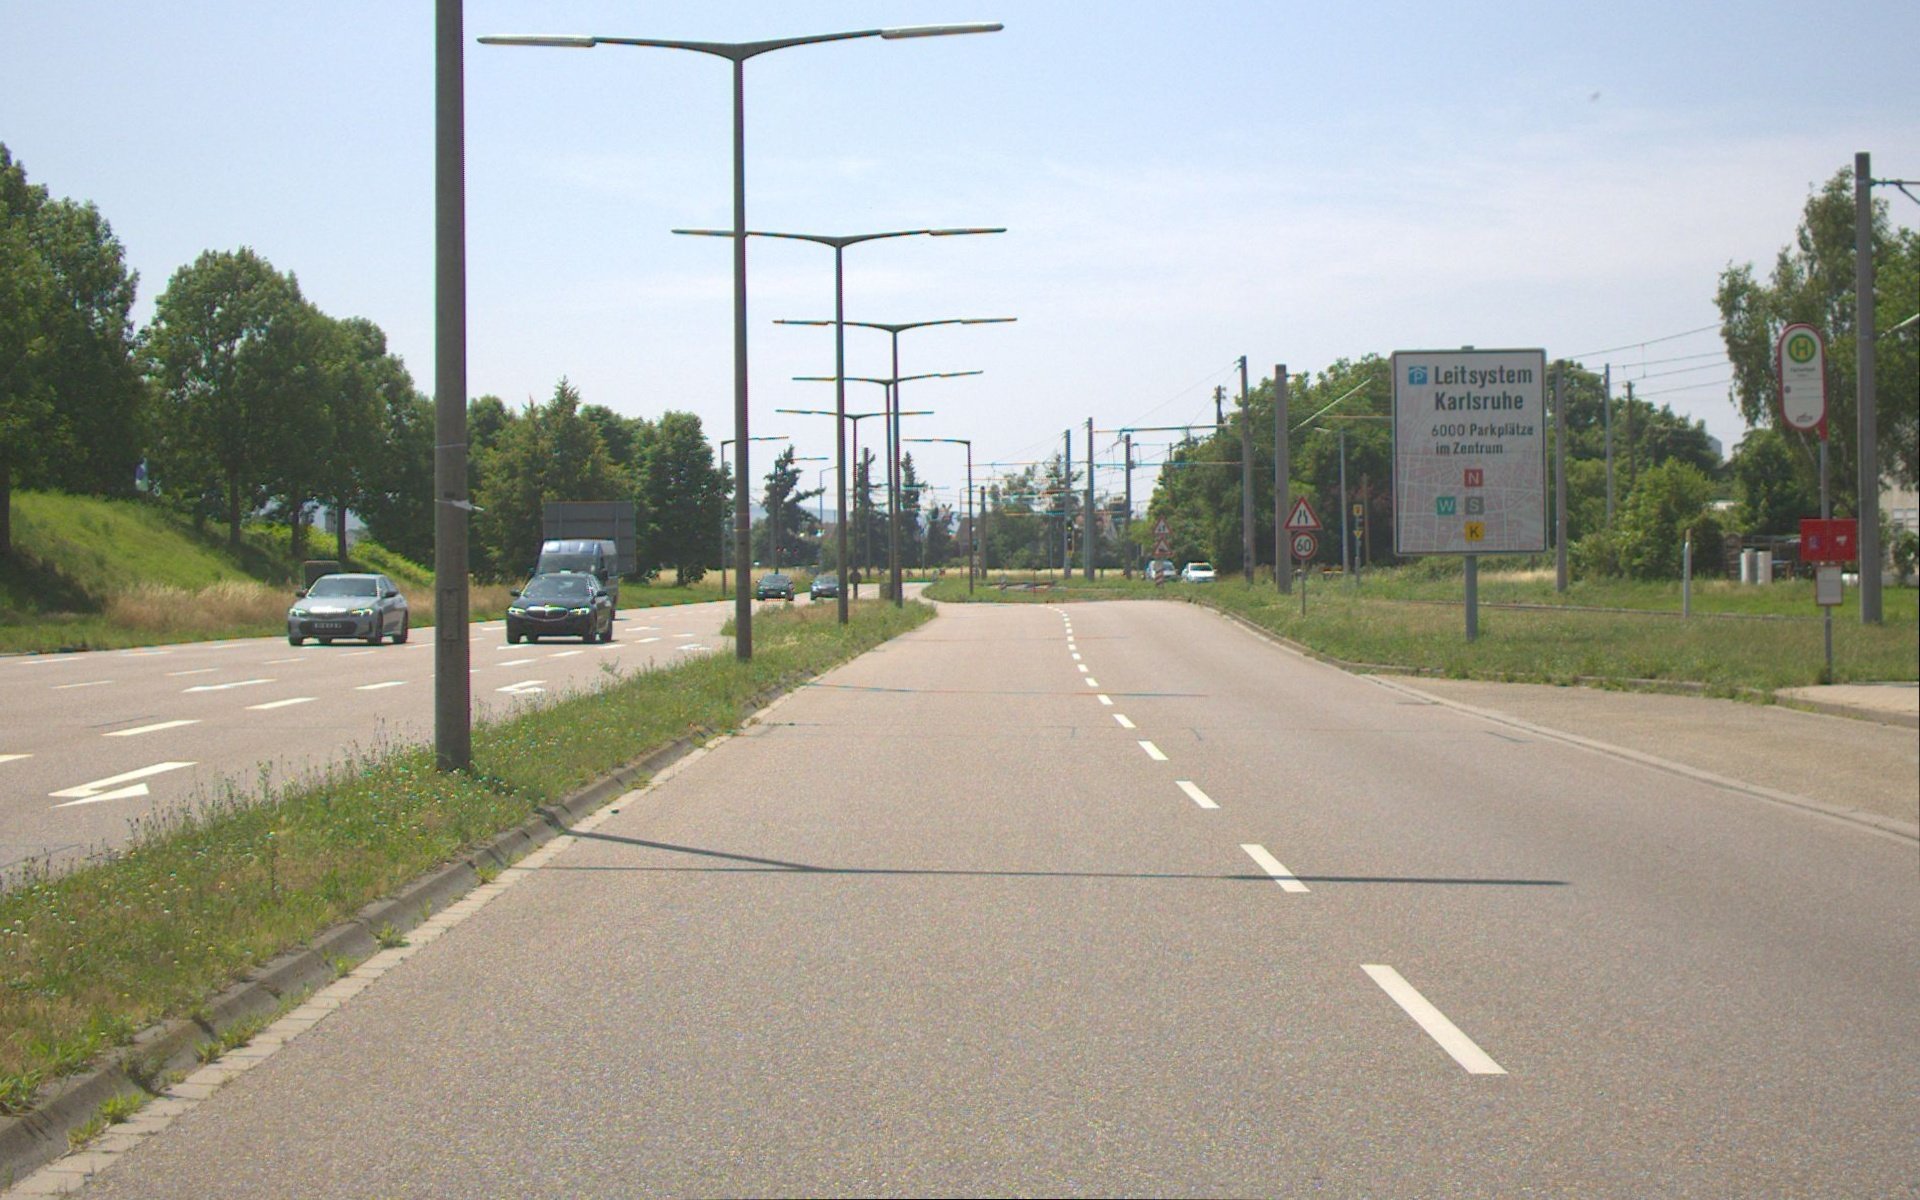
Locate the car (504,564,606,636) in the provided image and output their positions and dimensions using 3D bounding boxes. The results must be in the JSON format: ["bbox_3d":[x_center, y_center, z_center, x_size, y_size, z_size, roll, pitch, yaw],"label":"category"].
[{"bbox_3d":[-8.534,-0.024,72.763,1.730,1.453,4.565,-1,1,-2],"label":"car"}]

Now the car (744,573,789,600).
[{"bbox_3d":[-10.491,-0.744,186.721,1.993,1.355,4.665,-2,1,1],"label":"car"}]

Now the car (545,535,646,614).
[{"bbox_3d":[-11.326,-0.819,107.267,2.174,2.403,5.671,0,1,4],"label":"car"}]

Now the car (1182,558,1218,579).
[{"bbox_3d":[13.912,-1.820,199.246,1.562,1.175,3.080,-1,1,-6],"label":"car"}]

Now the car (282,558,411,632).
[{"bbox_3d":[-12.503,-0.136,70.329,1.831,1.444,4.851,-1,1,-1],"label":"car"}]

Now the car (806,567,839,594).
[{"bbox_3d":[-7.760,-1.106,193.936,1.692,1.486,4.000,-1,1,0],"label":"car"}]
